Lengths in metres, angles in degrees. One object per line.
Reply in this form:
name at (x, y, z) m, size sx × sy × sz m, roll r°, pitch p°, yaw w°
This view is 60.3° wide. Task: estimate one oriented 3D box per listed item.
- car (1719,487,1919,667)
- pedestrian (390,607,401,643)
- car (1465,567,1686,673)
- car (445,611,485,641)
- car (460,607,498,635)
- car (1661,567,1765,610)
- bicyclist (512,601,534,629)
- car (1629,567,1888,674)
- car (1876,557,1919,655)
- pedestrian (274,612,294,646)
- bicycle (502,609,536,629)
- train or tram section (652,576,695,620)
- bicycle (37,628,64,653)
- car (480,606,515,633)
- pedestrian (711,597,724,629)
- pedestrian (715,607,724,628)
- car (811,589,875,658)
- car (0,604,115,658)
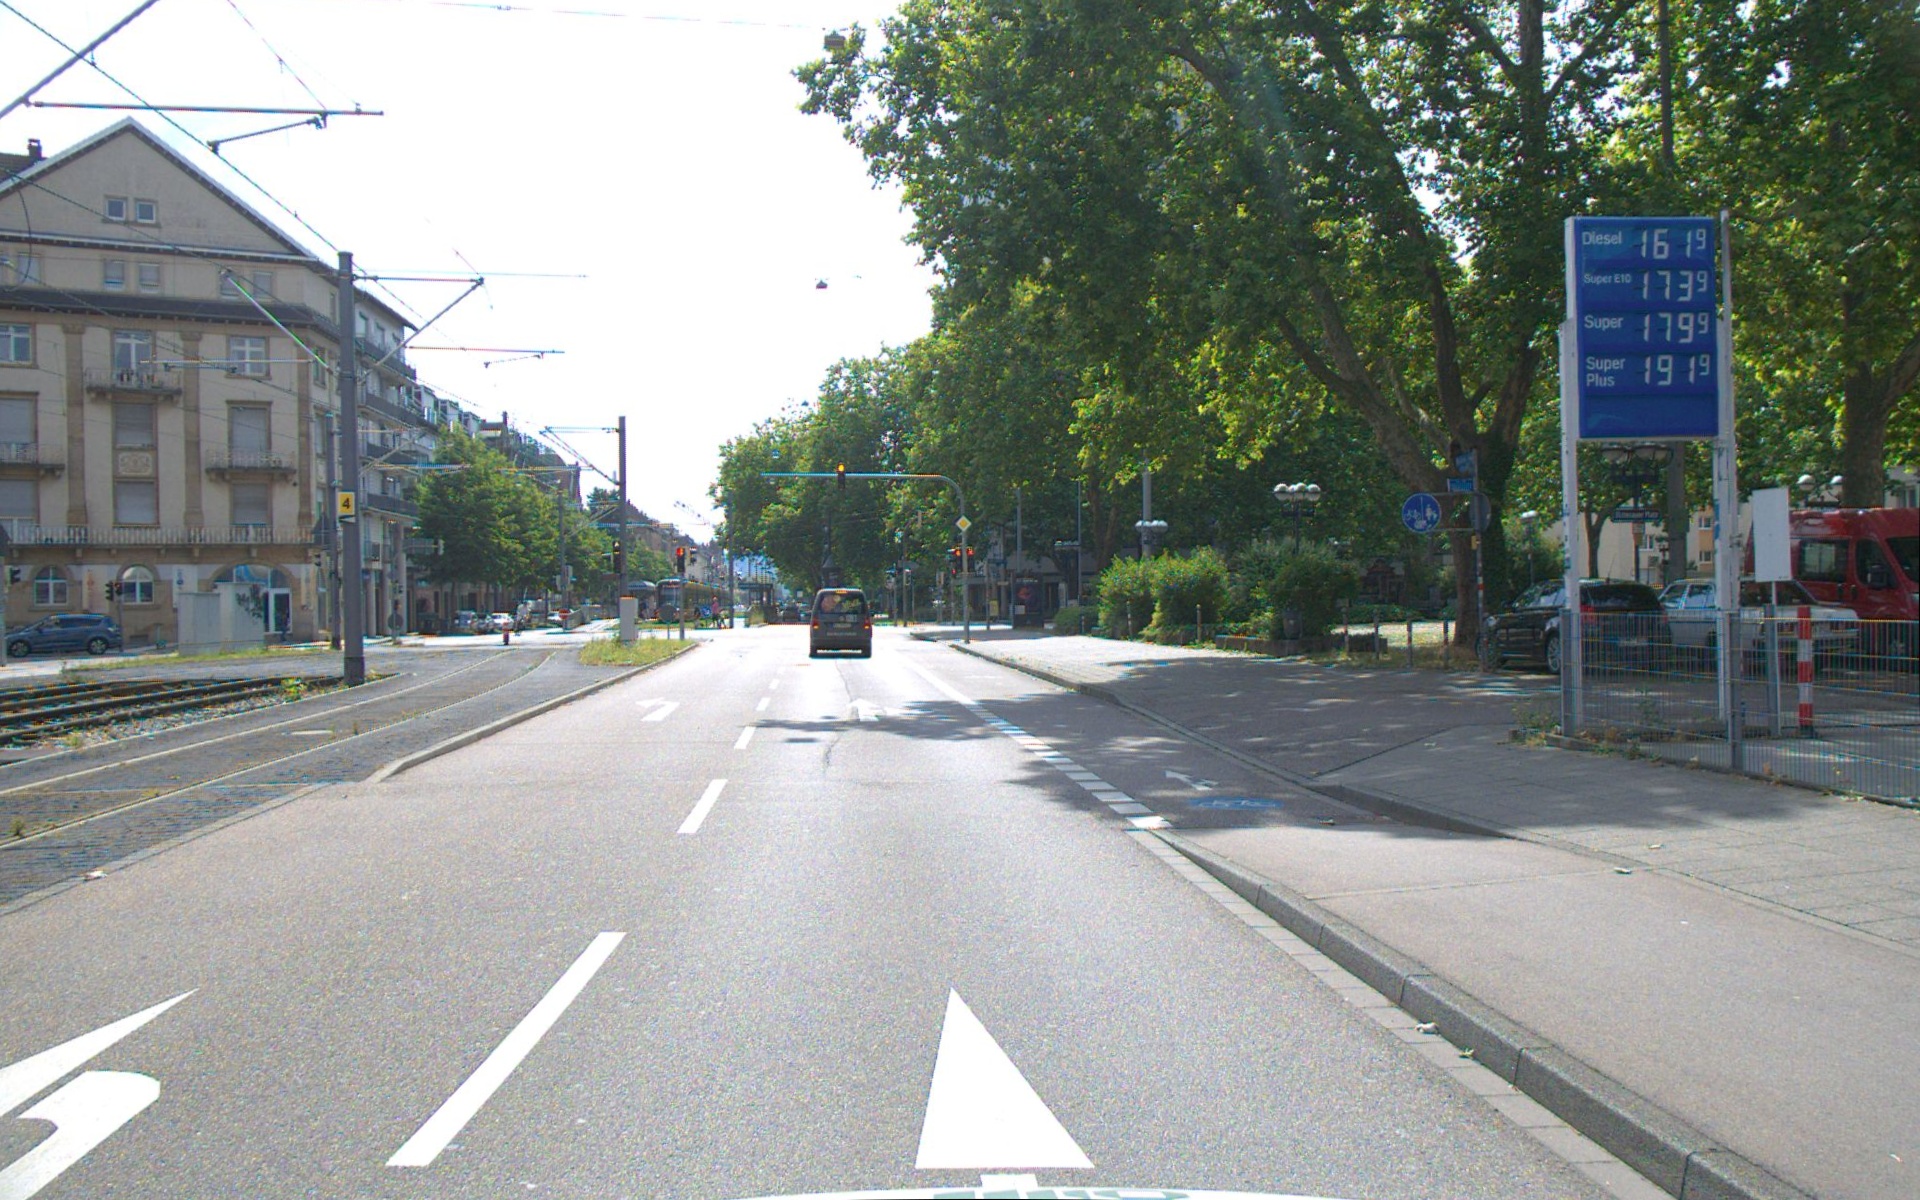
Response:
car at (14.884, -0.371, 26.800) m, size 2.070 × 2.627 × 6.015 m, roll -1°, pitch 0°, yaw -3°
pedestrian at (-32.393, 1.405, 94.891) m, size 0.468 × 2.049 × 0.419 m, roll -1°, pitch 0°, yaw -10°
car at (9.561, 0.278, 26.029) m, size 1.617 × 1.496 × 4.037 m, roll -1°, pitch 0°, yaw -6°
car at (-35.608, 1.848, 119.045) m, size 1.955 × 2.049 × 3.996 m, roll -1°, pitch 0°, yaw -5°
car at (-36.151, 1.573, 124.292) m, size 1.955 × 2.049 × 3.996 m, roll -1°, pitch 0°, yaw -5°
car at (38.404, -0.561, 84.386) m, size 4.327 × 2.049 × 2.075 m, roll -1°, pitch 0°, yaw -4°
bicyclist at (-24.090, 0.835, 91.146) m, size 0.774 × 1.538 × 0.985 m, roll -1°, pitch 0°, yaw -42°
car at (12.275, 0.294, 25.718) m, size 1.618 × 1.496 × 4.035 m, roll -1°, pitch 0°, yaw -9°
car at (17.532, 0.102, 27.395) m, size 1.966 × 1.680 × 4.649 m, roll 0°, pitch 0°, yaw -3°
pedestrian at (-32.672, 1.408, 79.936) m, size 0.848 × 1.623 × 0.689 m, roll -1°, pitch 0°, yaw -24°
bicycle at (-24.263, 1.067, 90.984) m, size 0.889 × 1.067 × 2.273 m, roll -1°, pitch 0°, yaw -42°
train or tram section at (-23.105, -0.147, 133.780) m, size 2.197 × 3.389 × 12.958 m, roll -1°, pitch 0°, yaw -5°
bicycle at (-40.170, 1.779, 73.017) m, size 0.796 × 1.071 × 2.535 m, roll -1°, pitch 0°, yaw -34°
car at (-37.066, 1.543, 132.742) m, size 1.955 × 2.049 × 3.996 m, roll -1°, pitch 0°, yaw -5°
pedestrian at (-13.983, 0.735, 95.248) m, size 0.646 × 1.815 × 0.660 m, roll -1°, pitch 0°, yaw -5°
pedestrian at (-13.968, 1.006, 95.968) m, size 0.454 × 1.164 × 0.434 m, roll -1°, pitch 0°, yaw -5°
car at (-3.302, 0.633, 46.316) m, size 1.716 × 1.840 × 3.471 m, roll 0°, pitch 0°, yaw -5°
car at (-37.655, 1.259, 68.380) m, size 4.742 × 2.049 × 1.979 m, roll -2°, pitch 0°, yaw -31°
